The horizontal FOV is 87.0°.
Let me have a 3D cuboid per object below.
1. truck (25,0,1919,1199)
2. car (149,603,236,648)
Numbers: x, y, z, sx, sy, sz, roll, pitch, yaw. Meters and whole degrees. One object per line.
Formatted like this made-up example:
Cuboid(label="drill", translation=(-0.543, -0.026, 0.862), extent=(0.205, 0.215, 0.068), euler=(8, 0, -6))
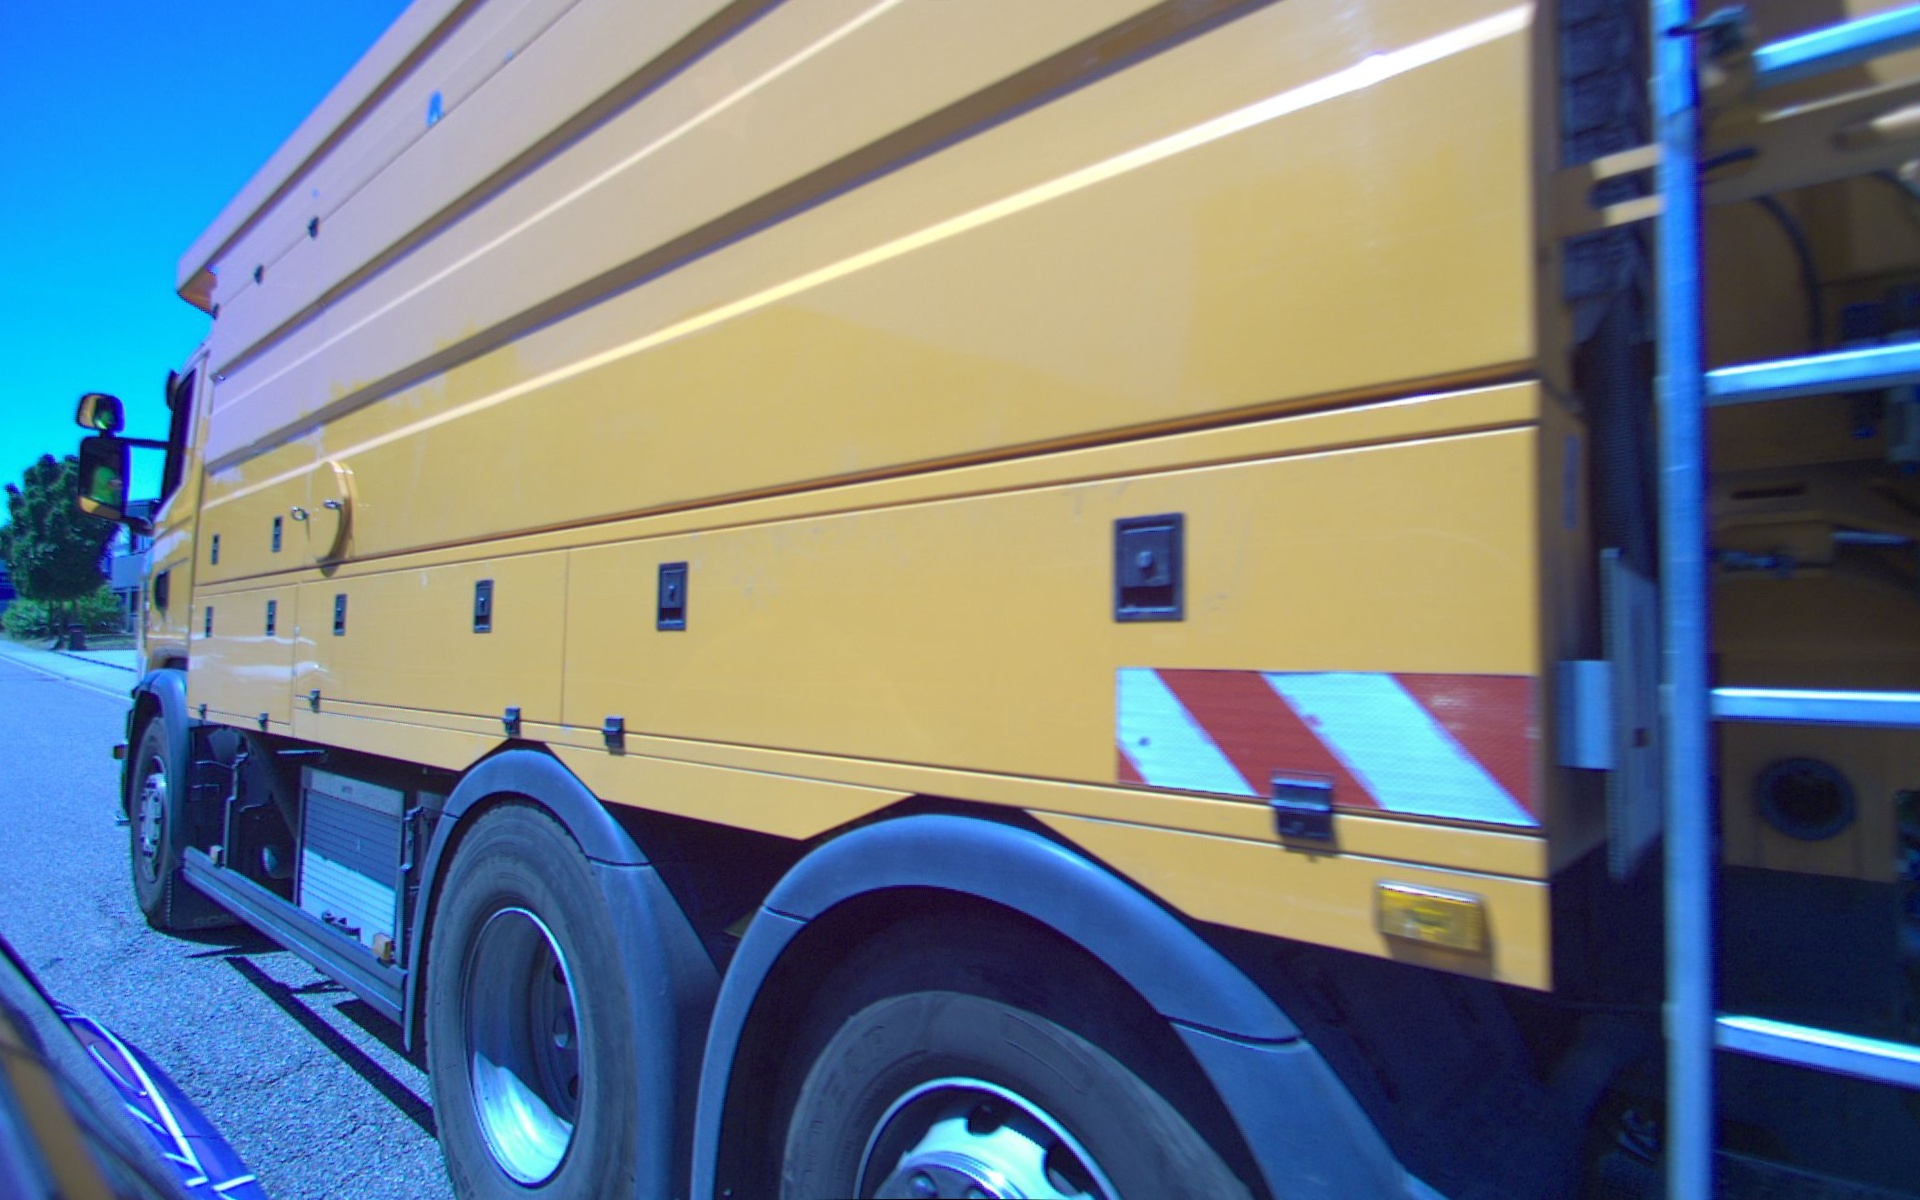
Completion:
Cuboid(label="truck", translation=(-0.617, -0.218, 3.453), extent=(10.496, 3.572, 2.572), euler=(-1, -3, 41))
Cuboid(label="car", translation=(-30.431, 0.992, 40.093), extent=(3.999, 1.697, 1.972), euler=(-1, -2, 42))
